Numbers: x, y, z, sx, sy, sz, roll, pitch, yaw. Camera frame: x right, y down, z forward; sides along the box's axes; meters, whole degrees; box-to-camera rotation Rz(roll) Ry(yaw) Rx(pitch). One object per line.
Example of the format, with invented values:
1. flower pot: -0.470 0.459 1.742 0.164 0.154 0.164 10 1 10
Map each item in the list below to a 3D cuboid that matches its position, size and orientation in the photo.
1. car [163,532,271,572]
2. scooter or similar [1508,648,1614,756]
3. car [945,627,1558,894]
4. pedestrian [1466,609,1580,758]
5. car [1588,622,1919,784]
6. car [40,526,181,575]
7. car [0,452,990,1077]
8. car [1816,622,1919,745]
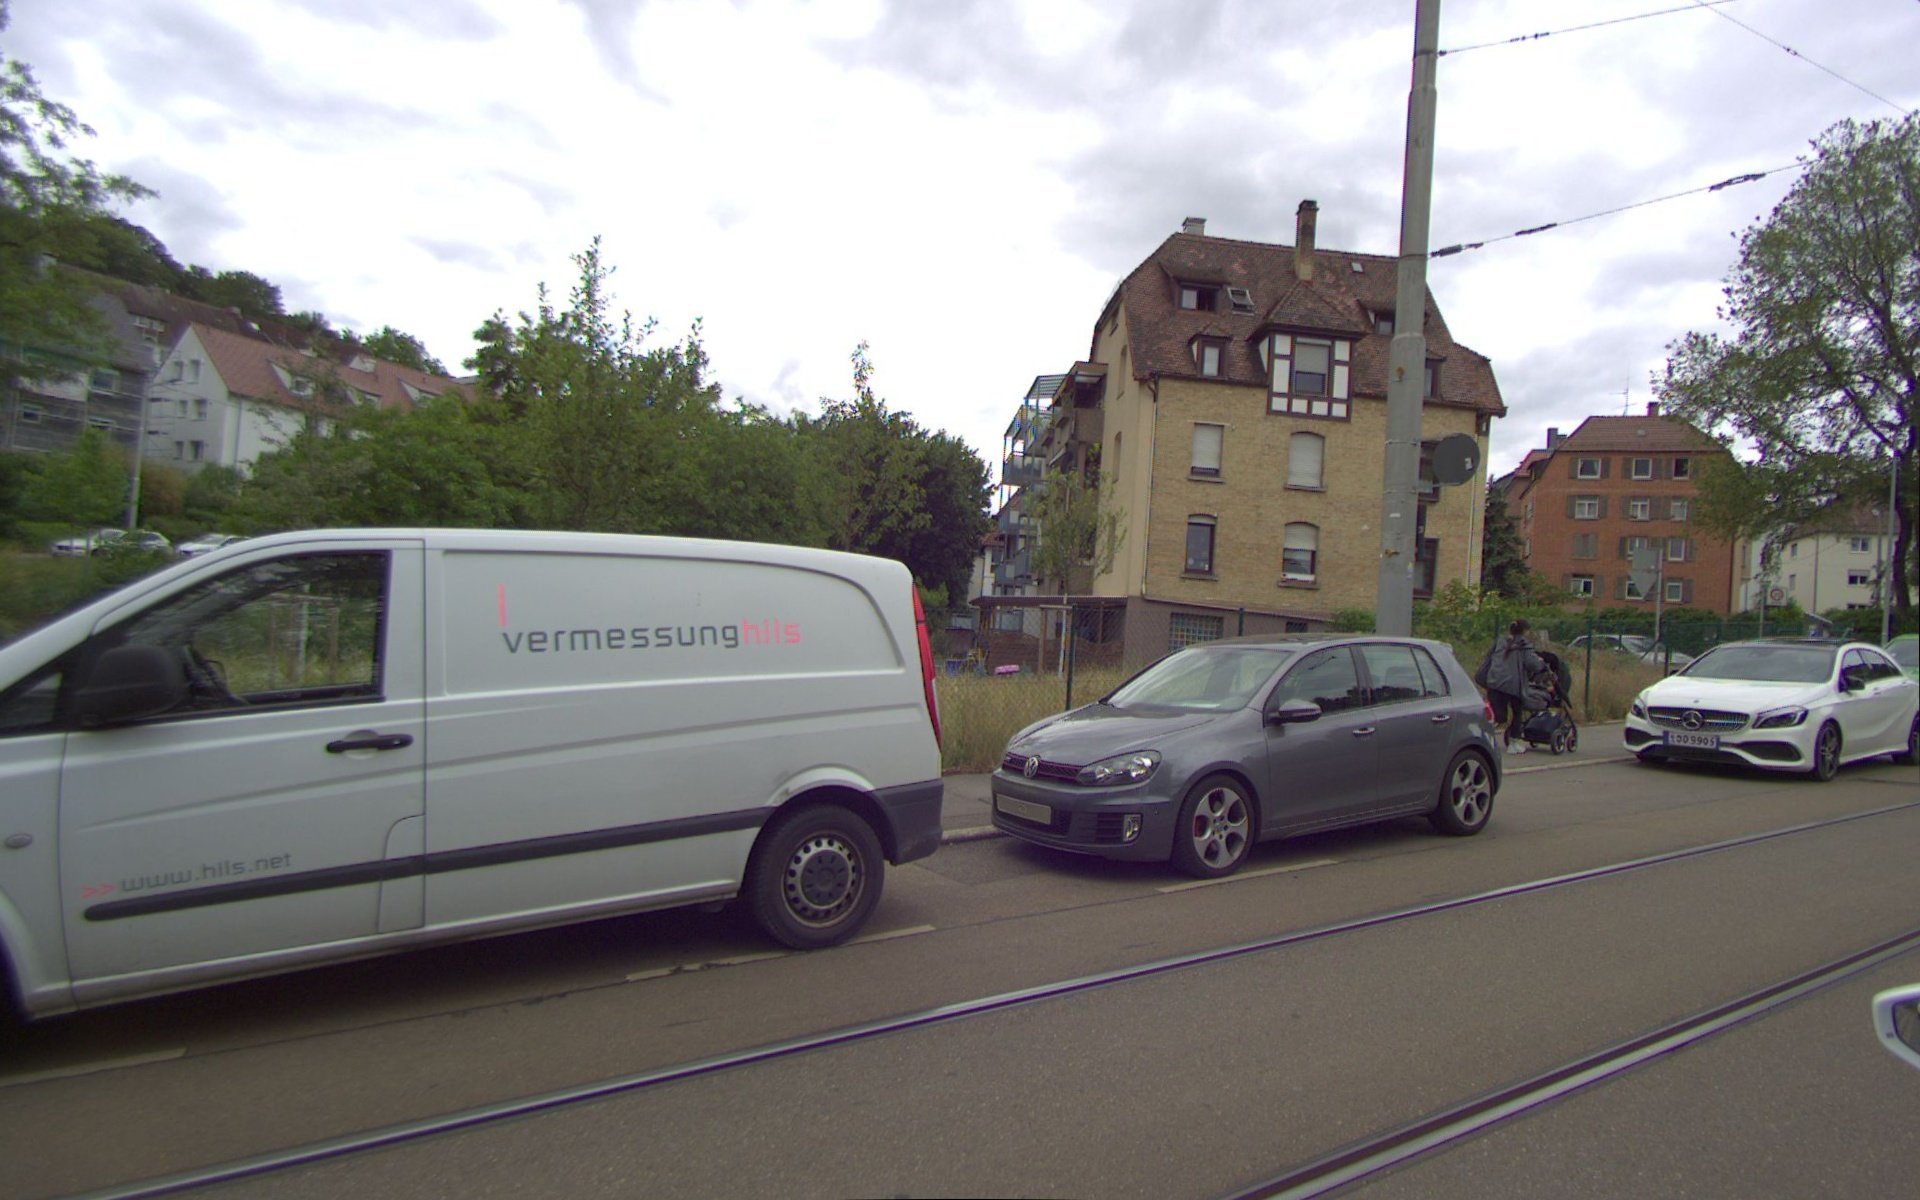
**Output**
1. car: -36.242 -2.312 49.132 1.800 1.680 4.135 2 0 9
2. scooter or similar: 7.324 1.222 12.246 0.830 1.212 0.800 3 0 -34
3. car: 2.282 0.957 7.496 4.459 1.451 1.887 2 -1 -31
4. pedestrian: 6.603 0.951 11.797 0.907 1.650 0.800 3 0 -34
5. car: 9.473 1.078 11.614 4.610 1.546 1.876 2 -2 -31
6. car: -36.956 -2.116 43.871 1.863 1.812 4.487 2 0 9
7. car: -2.426 0.589 4.600 4.831 1.906 2.025 3 -3 -32
8. car: 14.196 1.159 14.378 4.132 1.600 1.715 2 -2 -31
